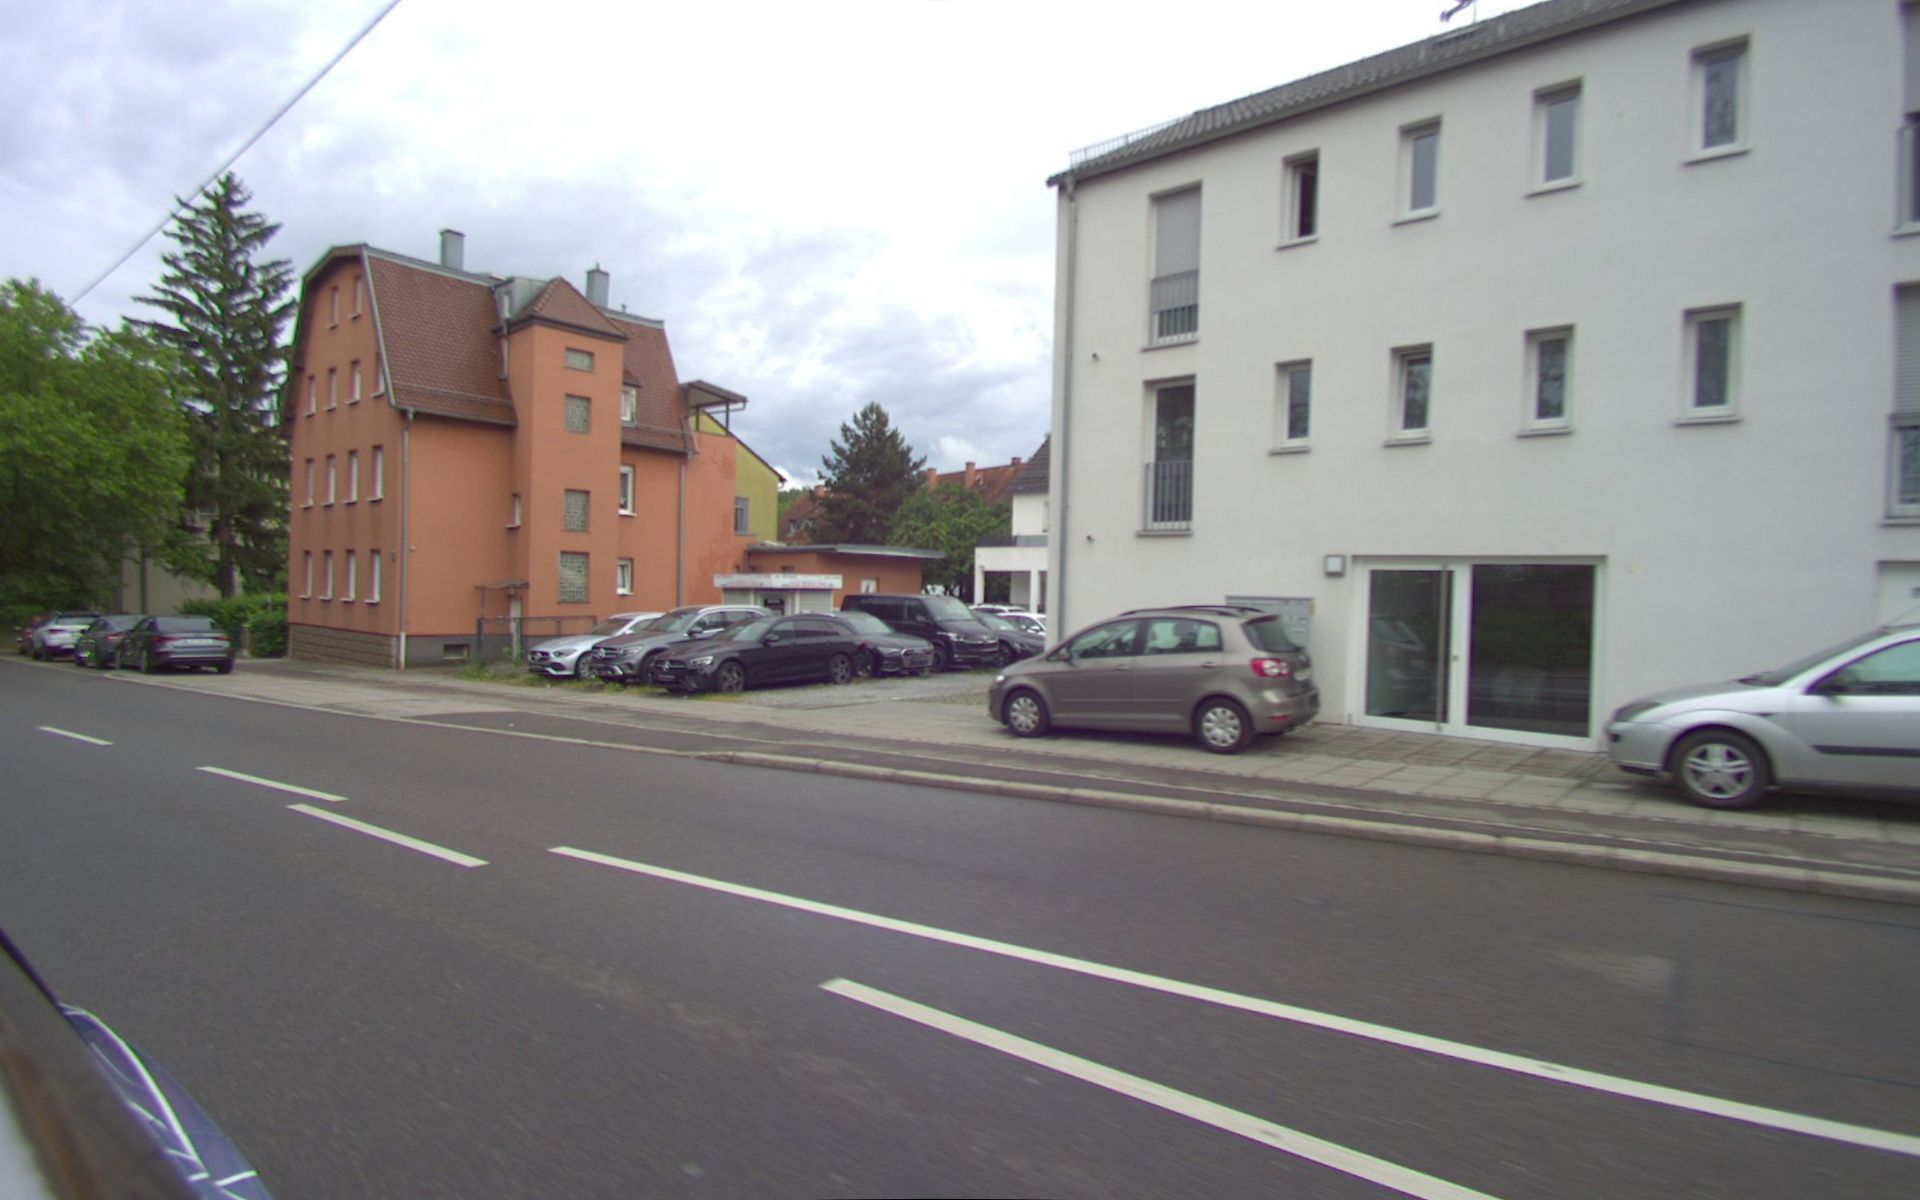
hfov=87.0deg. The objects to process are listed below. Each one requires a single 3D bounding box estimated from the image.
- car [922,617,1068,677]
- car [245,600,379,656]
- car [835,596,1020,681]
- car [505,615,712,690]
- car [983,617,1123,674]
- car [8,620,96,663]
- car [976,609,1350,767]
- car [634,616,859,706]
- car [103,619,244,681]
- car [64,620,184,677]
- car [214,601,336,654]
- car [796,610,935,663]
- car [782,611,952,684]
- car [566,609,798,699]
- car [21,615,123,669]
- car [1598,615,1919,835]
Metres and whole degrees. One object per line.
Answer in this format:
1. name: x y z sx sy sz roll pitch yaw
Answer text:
1. car: 0.912 1.251 27.736 3.872 1.547 1.642 -1 -2 41
2. car: -25.108 1.039 39.310 1.998 2.029 3.947 -1 0 39
3. car: -0.916 0.973 26.359 4.762 2.029 1.973 -1 -2 41
4. car: -8.155 1.163 23.699 2.000 1.444 4.117 -1 0 43
5. car: 2.663 1.294 29.528 3.872 1.547 1.642 -1 -2 41
6. car: -32.297 1.434 35.968 4.196 1.444 1.793 -1 -2 41
7. car: 2.360 0.941 12.245 4.076 1.564 1.729 -1 1 37
8. car: -4.192 1.133 20.308 1.895 1.475 4.082 -1 0 42
9. car: -19.538 1.218 25.080 4.193 1.421 1.767 -1 -3 38
10. car: -23.266 1.286 28.125 4.194 1.463 1.794 -1 -2 39
11. car: -28.148 1.078 41.623 3.938 2.029 2.003 -1 0 -42
12. car: -2.966 1.088 31.222 4.176 1.444 1.972 -1 0 43
13. car: -2.258 1.086 24.040 3.998 1.574 1.762 -1 -2 41
14. car: -6.031 1.100 22.336 2.153 1.620 4.482 -1 0 43
15. car: -28.232 1.332 32.122 4.196 1.558 1.793 -1 -5 41
16. car: 7.350 0.873 7.547 4.175 1.519 1.727 -1 -2 41
